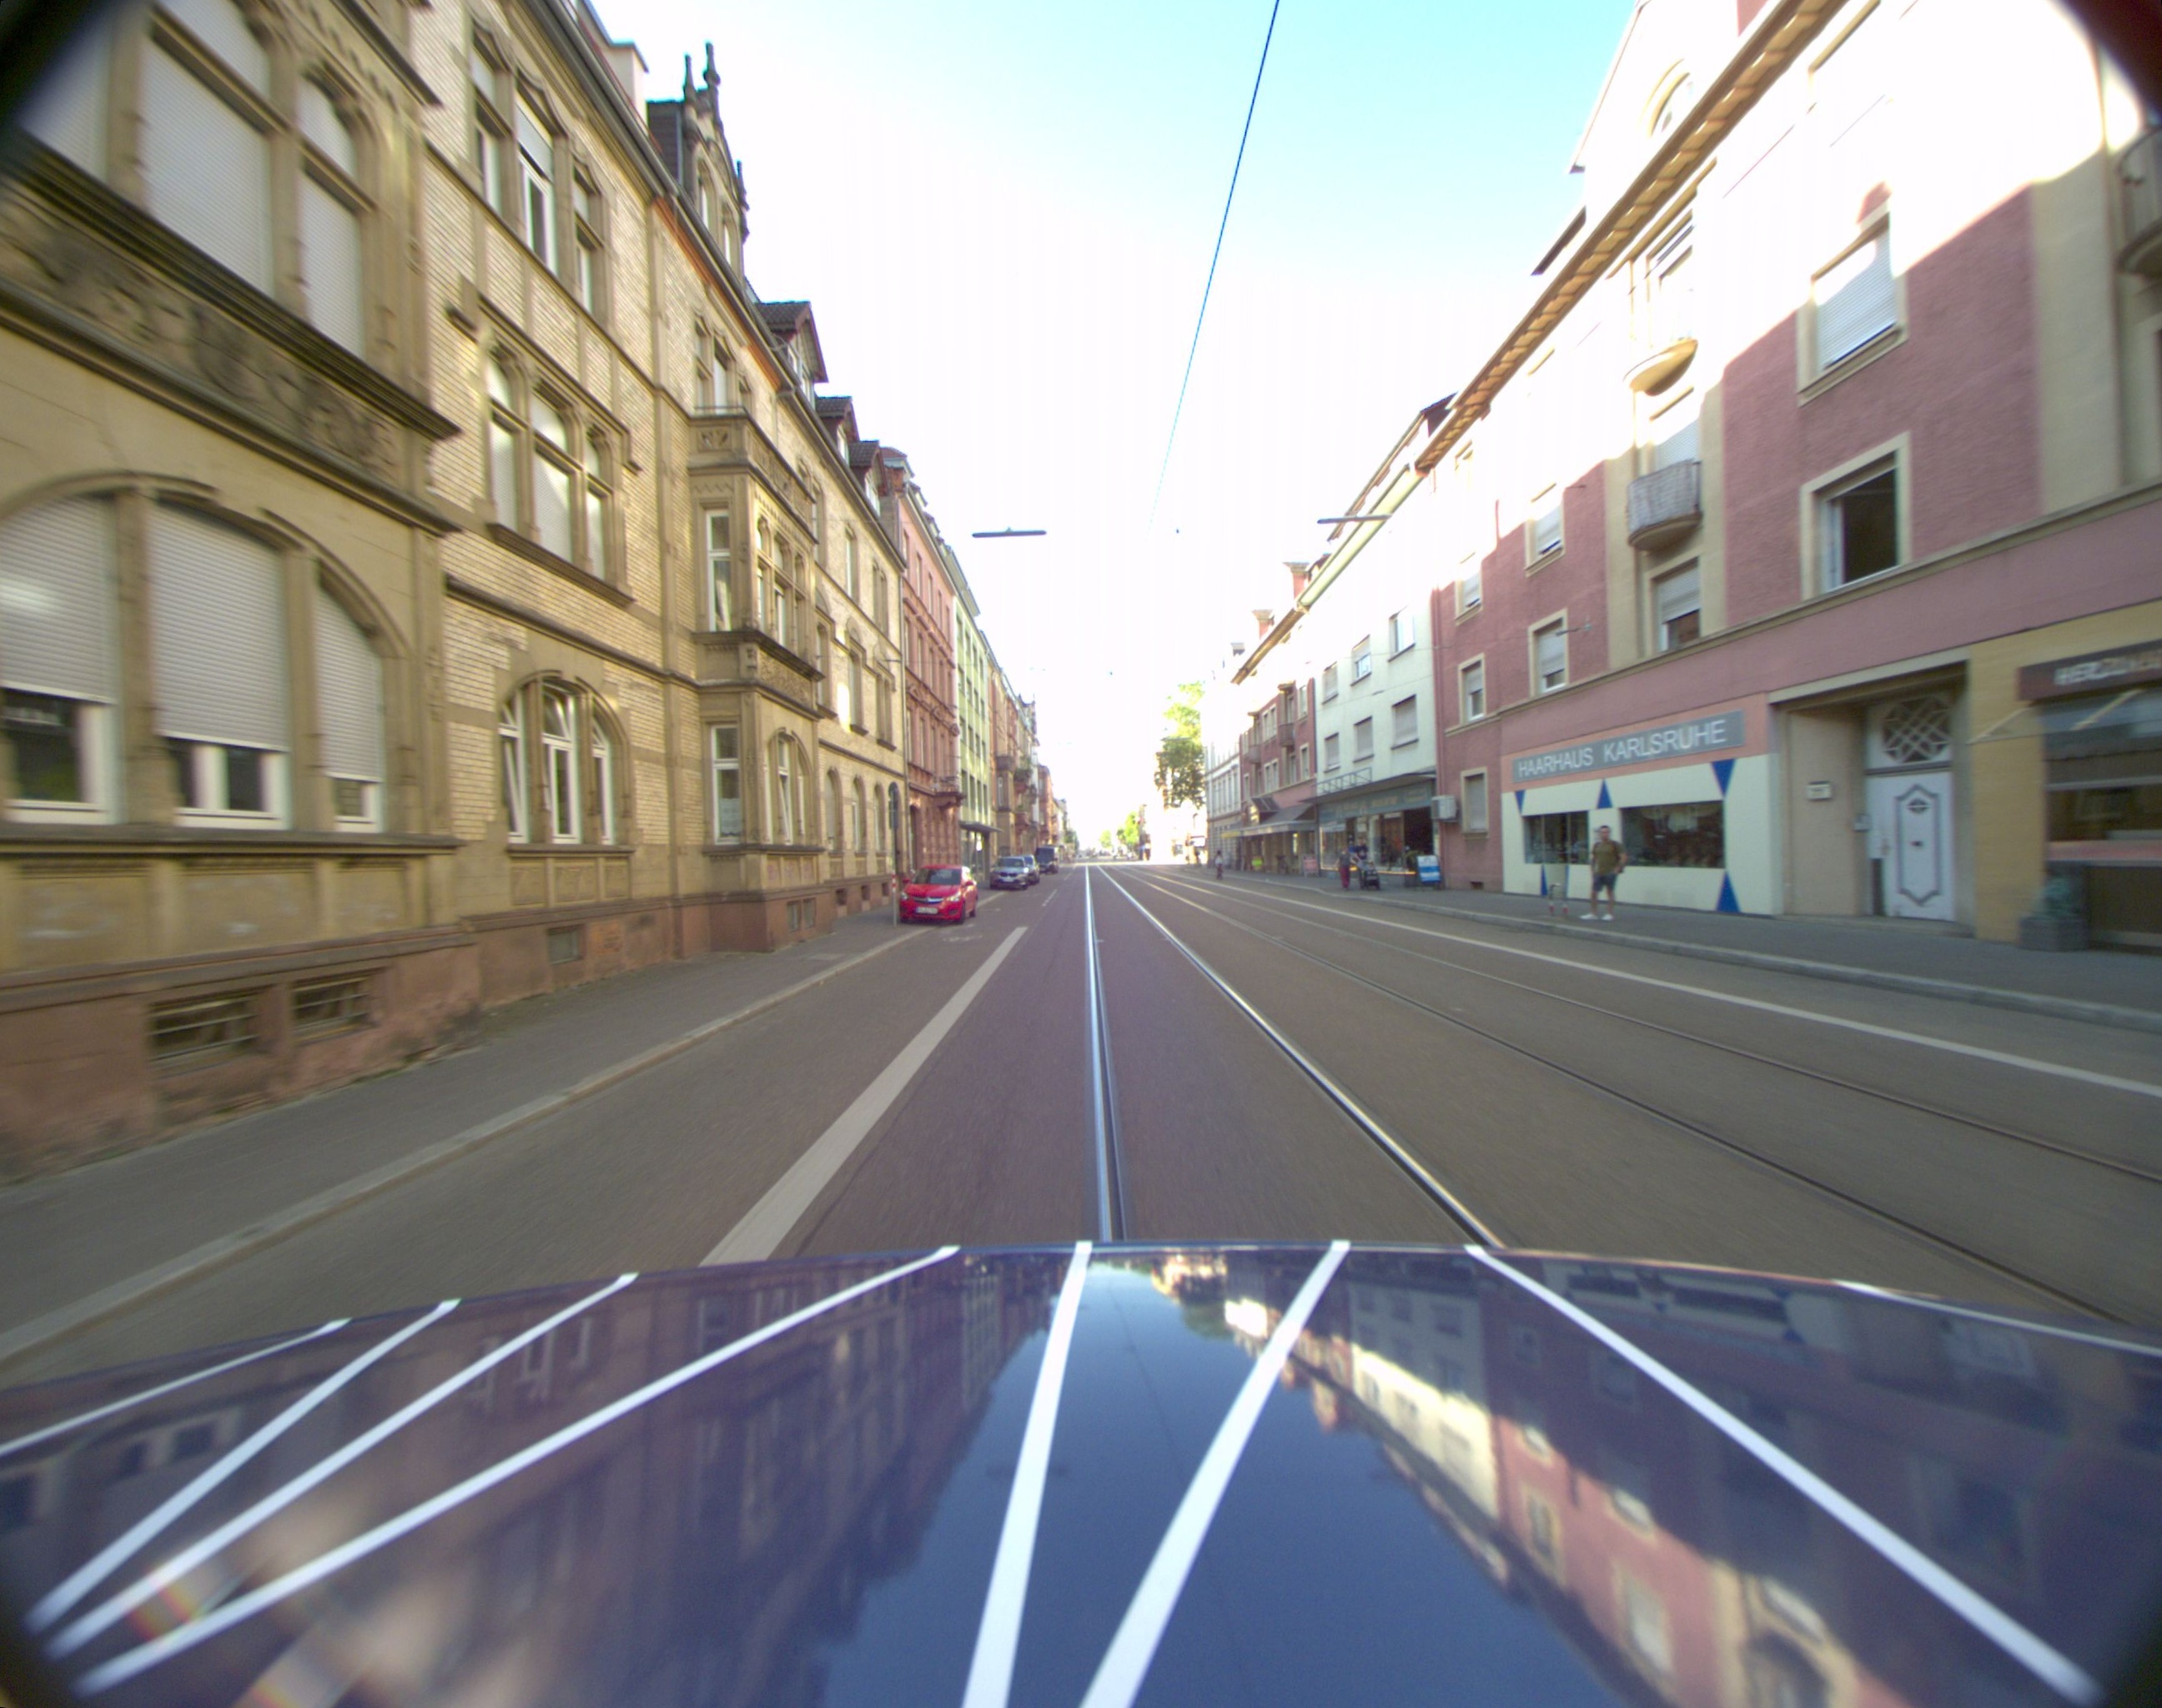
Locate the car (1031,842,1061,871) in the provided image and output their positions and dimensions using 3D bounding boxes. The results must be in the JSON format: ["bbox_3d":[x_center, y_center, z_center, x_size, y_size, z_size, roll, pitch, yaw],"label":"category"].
[{"bbox_3d":[-3.186,0.174,71.003,2.128,2.478,5.856,-3,1,3],"label":"car"}]

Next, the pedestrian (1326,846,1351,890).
[{"bbox_3d":[9.300,0.486,27.427,0.637,1.540,0.623,-3,1,0],"label":"pedestrian"}]

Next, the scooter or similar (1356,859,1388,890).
[{"bbox_3d":[10.322,0.717,26.976,0.663,1.055,1.105,-3,0,1],"label":"scooter or similar"}]

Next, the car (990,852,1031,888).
[{"bbox_3d":[-3.485,0.774,38.371,1.871,1.637,4.399,1,1,-3],"label":"car"}]

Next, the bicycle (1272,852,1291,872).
[{"bbox_3d":[11.354,0.447,43.006,0.425,1.053,2.329,-3,1,0],"label":"bicycle"}]

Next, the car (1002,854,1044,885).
[{"bbox_3d":[-3.271,0.831,43.953,1.998,1.606,4.785,1,1,0],"label":"car"}]

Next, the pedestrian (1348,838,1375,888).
[{"bbox_3d":[10.317,0.314,27.996,0.627,1.779,0.821,-3,1,0],"label":"pedestrian"}]

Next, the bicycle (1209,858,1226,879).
[{"bbox_3d":[7.397,0.771,41.347,0.603,1.089,2.044,0,1,1],"label":"bicycle"}]

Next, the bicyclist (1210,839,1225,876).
[{"bbox_3d":[7.390,0.184,41.239,0.613,2.002,0.733,-3,1,1],"label":"bicyclist"}]

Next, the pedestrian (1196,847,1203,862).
[{"bbox_3d":[15.546,0.077,99.483,0.795,1.837,0.809,-3,1,4],"label":"pedestrian"}]

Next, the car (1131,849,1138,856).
[{"bbox_3d":[16.813,-0.420,239.314,1.998,2.002,4.000,-2,0,0],"label":"car"}]

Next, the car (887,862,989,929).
[{"bbox_3d":[-3.713,1.024,20.516,1.870,1.474,4.400,1,1,0],"label":"car"}]

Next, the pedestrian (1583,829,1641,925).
[{"bbox_3d":[9.546,0.406,13.684,0.564,1.676,0.616,-3,1,-1],"label":"pedestrian"}]
